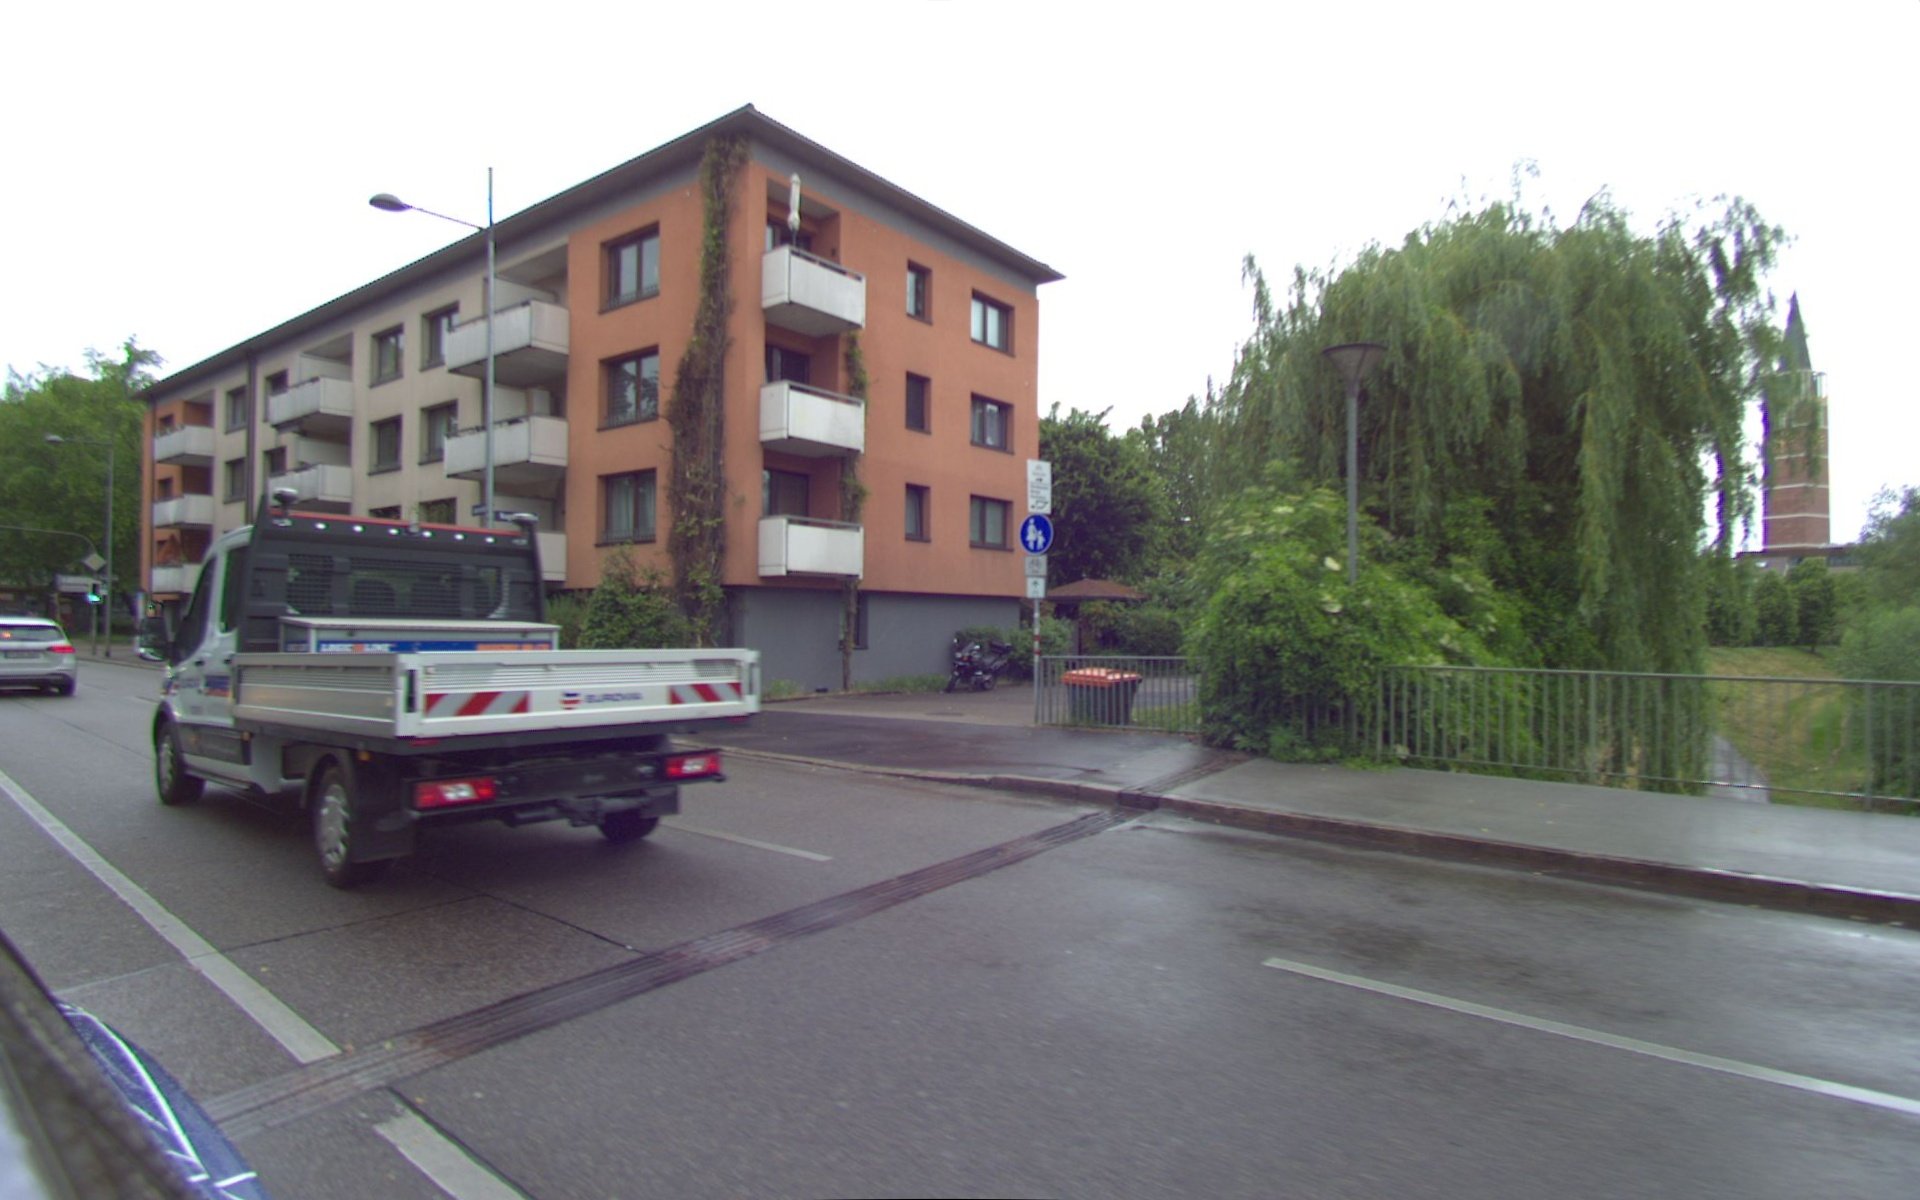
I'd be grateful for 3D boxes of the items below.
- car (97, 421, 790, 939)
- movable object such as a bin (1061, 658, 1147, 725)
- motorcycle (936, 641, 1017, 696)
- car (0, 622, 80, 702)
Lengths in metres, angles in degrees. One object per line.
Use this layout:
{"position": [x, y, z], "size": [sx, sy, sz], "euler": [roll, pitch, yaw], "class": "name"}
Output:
{"position": [-4.265, 0.475, 7.554], "size": [6.504, 2.326, 2.266], "euler": [-2, -4, 41], "class": "car"}
{"position": [2.073, 1.291, 14.551], "size": [0.832, 0.883, 0.956], "euler": [-1, -2, 41], "class": "movable object such as a bin"}
{"position": [0.440, 1.672, 24.978], "size": [0.780, 1.273, 2.371], "euler": [-3, -4, 36], "class": "motorcycle"}
{"position": [-19.366, 1.216, 20.459], "size": [4.164, 1.485, 1.763], "euler": [-2, -4, 41], "class": "car"}
